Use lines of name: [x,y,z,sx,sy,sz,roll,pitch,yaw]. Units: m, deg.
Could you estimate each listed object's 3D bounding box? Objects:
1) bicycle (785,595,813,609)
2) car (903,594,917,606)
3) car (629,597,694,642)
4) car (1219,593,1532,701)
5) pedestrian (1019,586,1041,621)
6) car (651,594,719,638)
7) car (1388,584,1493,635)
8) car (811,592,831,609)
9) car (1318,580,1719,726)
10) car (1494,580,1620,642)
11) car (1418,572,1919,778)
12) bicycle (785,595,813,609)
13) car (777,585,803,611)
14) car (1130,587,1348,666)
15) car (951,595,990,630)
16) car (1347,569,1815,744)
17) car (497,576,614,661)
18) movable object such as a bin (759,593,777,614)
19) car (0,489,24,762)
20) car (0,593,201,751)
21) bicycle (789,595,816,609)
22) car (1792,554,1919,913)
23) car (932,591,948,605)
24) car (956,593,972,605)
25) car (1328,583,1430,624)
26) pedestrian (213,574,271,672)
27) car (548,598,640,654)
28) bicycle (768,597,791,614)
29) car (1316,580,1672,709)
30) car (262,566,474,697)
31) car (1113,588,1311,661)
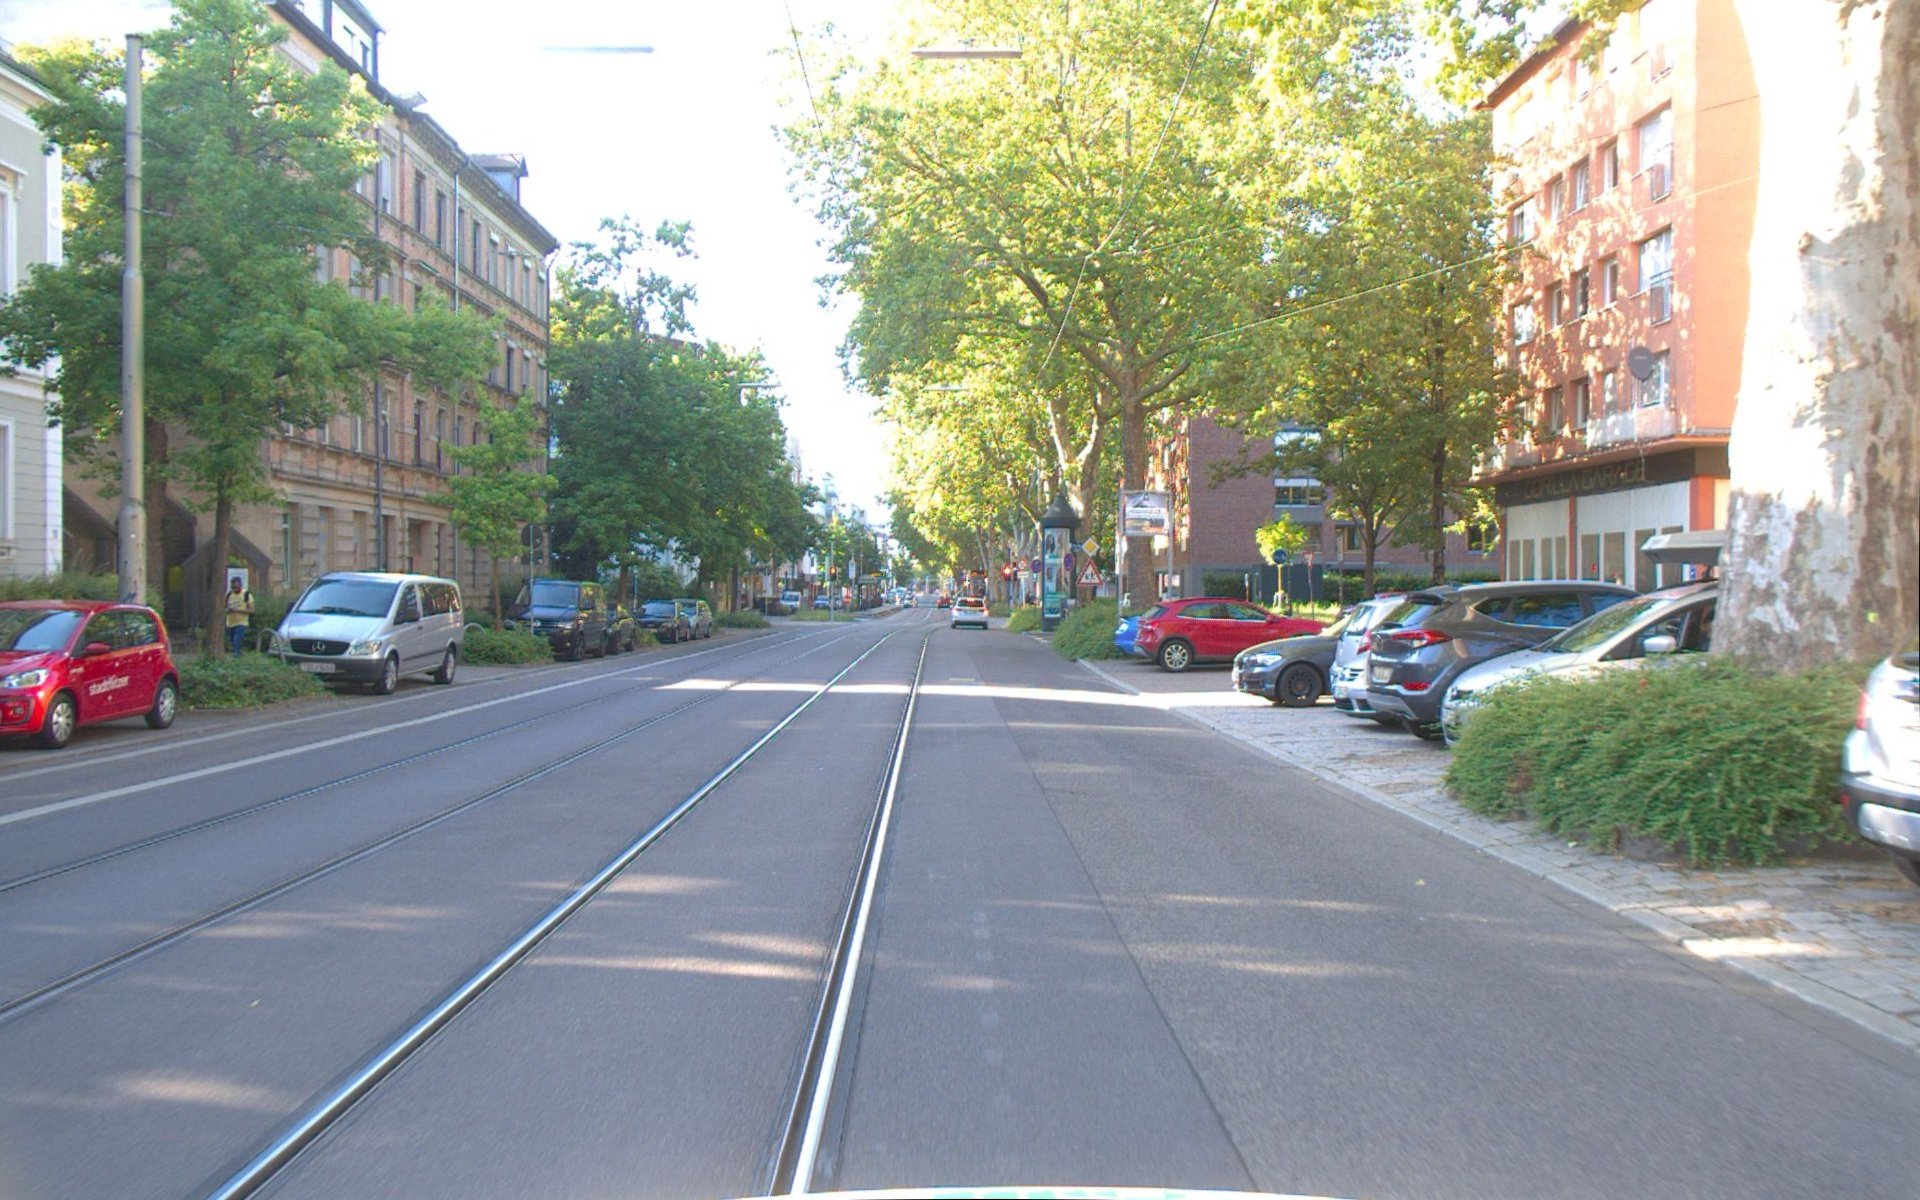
bicycle: [-13.580,0.178,139.546,2.207,1.092,0.636,3,0,0]
car: [-6.409,-0.043,212.023,1.659,1.444,3.999,-1,0,-1]
car: [-10.417,0.654,57.939,1.624,1.470,3.948,0,0,-1]
car: [6.001,0.654,24.210,4.115,1.473,1.817,-1,0,-1]
pedestrian: [3.947,0.200,93.185,0.964,1.896,1.015,-4,1,-6]
car: [-10.498,0.588,63.375,1.664,1.577,4.537,0,0,2]
car: [15.960,0.296,55.159,1.755,1.602,4.572,-1,0,-6]
car: [-13.480,0.053,160.545,1.561,1.575,3.999,2,0,-1]
car: [6.455,0.591,19.449,4.113,1.601,1.818,-1,0,1]
car: [14.971,0.246,41.700,1.713,1.460,3.950,-1,0,-1]
car: [6.298,0.608,14.431,4.113,1.647,1.818,-1,0,1]
bicycle: [-13.758,0.175,141.290,2.207,1.092,0.636,3,0,0]
car: [-13.204,-0.149,128.263,1.654,1.974,3.999,-1,0,-1]
car: [5.844,0.542,35.034,4.312,1.570,1.952,-1,0,1]
car: [0.471,0.560,77.258,1.752,1.540,3.999,-1,0,-1]
car: [6.288,0.537,17.047,4.117,1.647,1.877,-1,0,-4]
car: [-10.290,0.433,42.434,1.953,2.049,4.832,-1,0,-2]
movable object such as a bin: [-13.375,0.217,114.987,1.147,1.372,0.782,3,0,-5]
car: [-10.002,0.262,13.129,2.258,2.552,5.341,-1,0,-3]
car: [-10.097,0.718,18.398,1.651,1.566,3.706,-1,0,-1]
bicycle: [-13.644,0.185,143.123,2.207,1.092,0.636,3,0,0]
car: [6.234,0.549,7.800,3.706,1.647,1.789,-2,0,-3]
car: [-2.253,-0.271,187.178,1.752,1.540,3.999,-1,0,-1]
car: [0.466,-0.106,214.771,1.953,1.478,3.999,-1,0,-1]
car: [16.040,0.124,63.398,3.467,1.477,1.683,-1,0,-3]
pedestrian: [-12.735,0.398,29.367,0.592,1.691,0.947,1,0,0]
car: [-10.468,0.705,47.600,1.816,1.484,4.268,-1,0,-2]
bicycle: [-12.773,0.383,117.070,1.503,1.094,0.885,3,0,-2]
car: [6.920,0.560,21.753,4.113,1.583,1.818,-1,0,1]
car: [-9.936,0.469,28.204,1.806,2.023,4.988,-1,0,0]
car: [5.629,0.538,37.314,4.310,1.570,1.819,-1,0,6]
